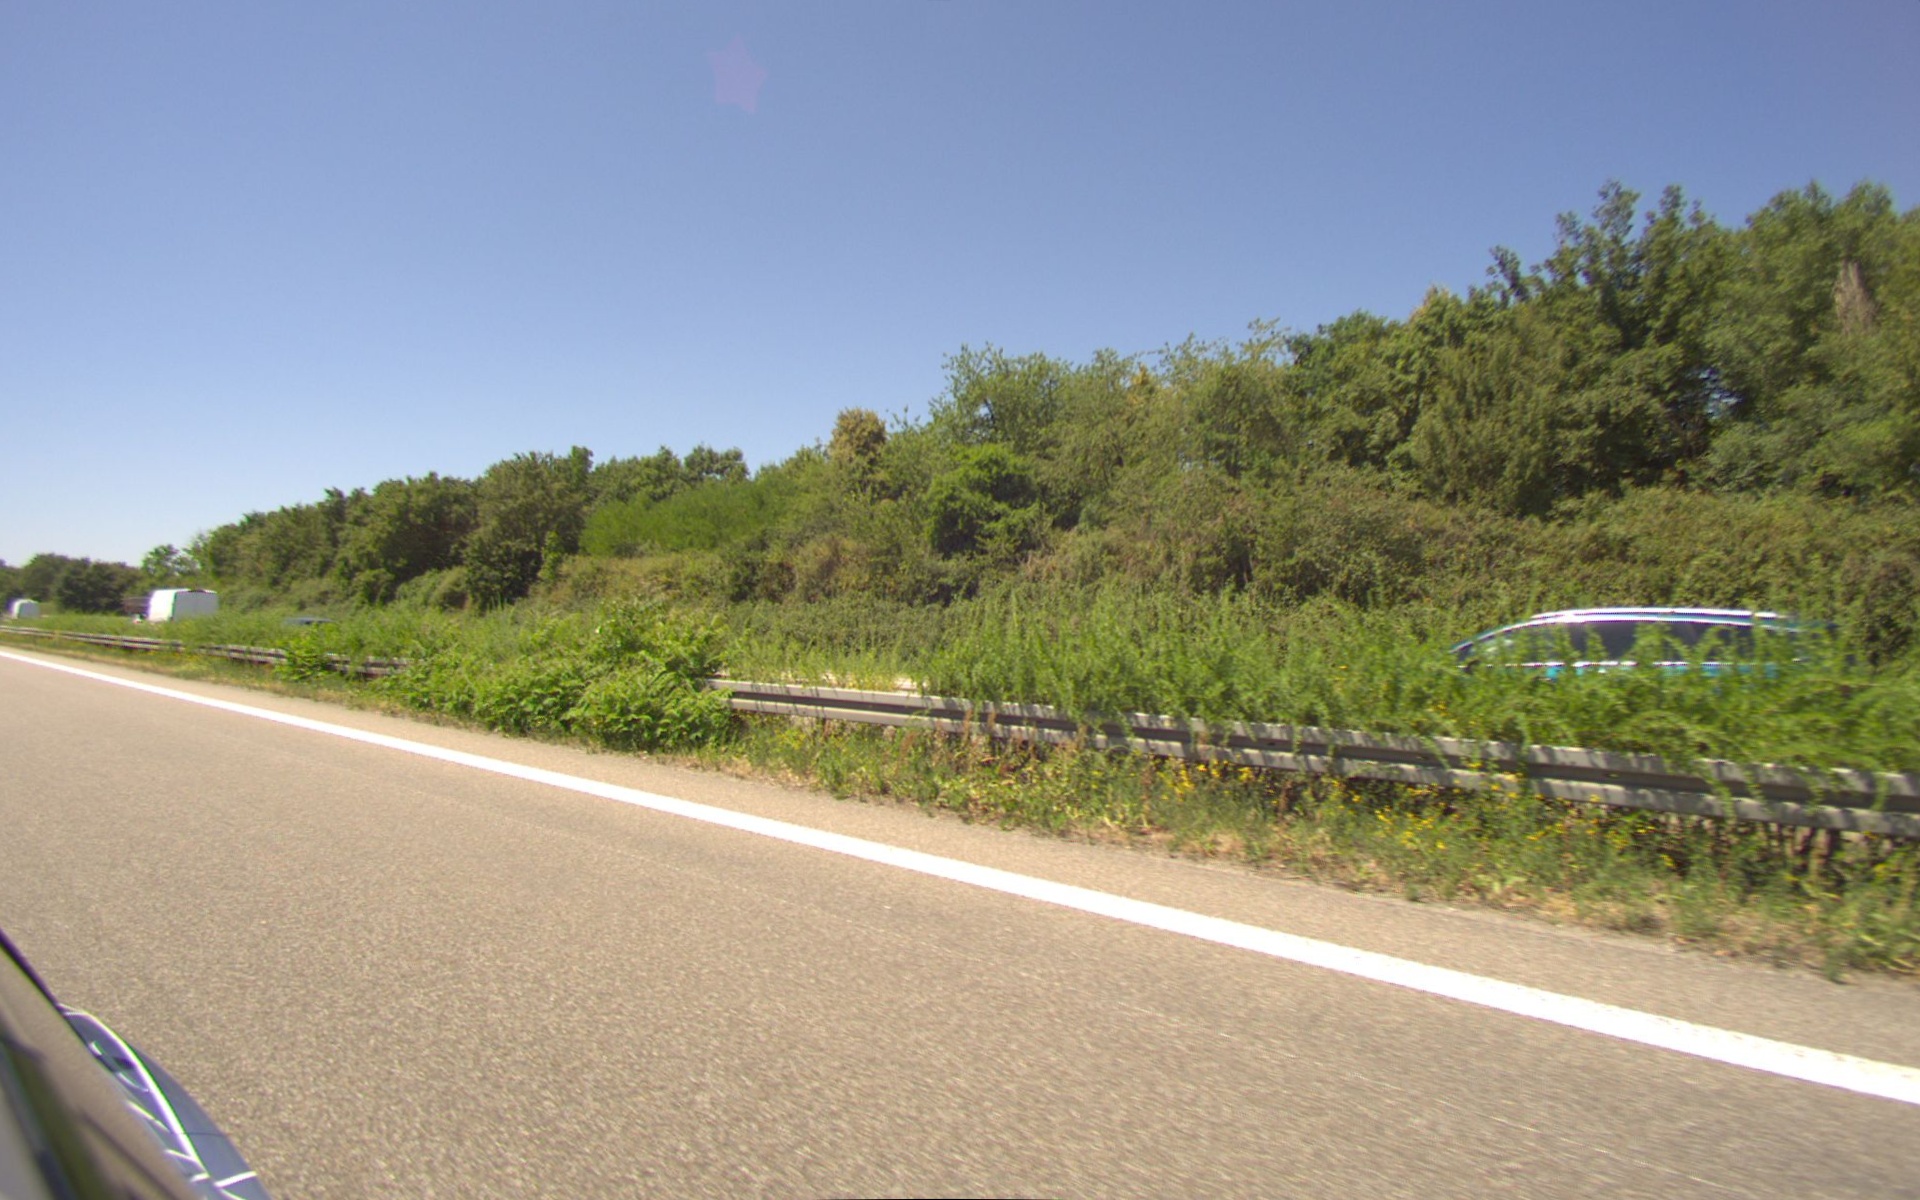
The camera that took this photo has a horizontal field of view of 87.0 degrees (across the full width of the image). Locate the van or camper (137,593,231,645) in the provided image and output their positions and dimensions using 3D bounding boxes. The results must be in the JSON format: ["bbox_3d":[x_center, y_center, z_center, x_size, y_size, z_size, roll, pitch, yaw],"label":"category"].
[{"bbox_3d":[-38.055,0.918,49.545,6.332,2.383,2.400,-1,0,41],"label":"van or camper"}]

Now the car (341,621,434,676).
[{"bbox_3d":[-22.885,1.865,40.376,4.174,2.029,1.973,-1,0,42],"label":"car"}]

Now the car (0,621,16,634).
[{"bbox_3d":[-122.802,3.537,130.059,4.413,1.519,1.724,-1,0,41],"label":"car"}]

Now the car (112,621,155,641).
[{"bbox_3d":[-65.711,2.432,80.435,4.446,1.519,1.921,-1,0,41],"label":"car"}]

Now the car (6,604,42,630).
[{"bbox_3d":[-102.722,1.849,111.061,6.654,2.767,2.014,-1,-3,41],"label":"car"}]
